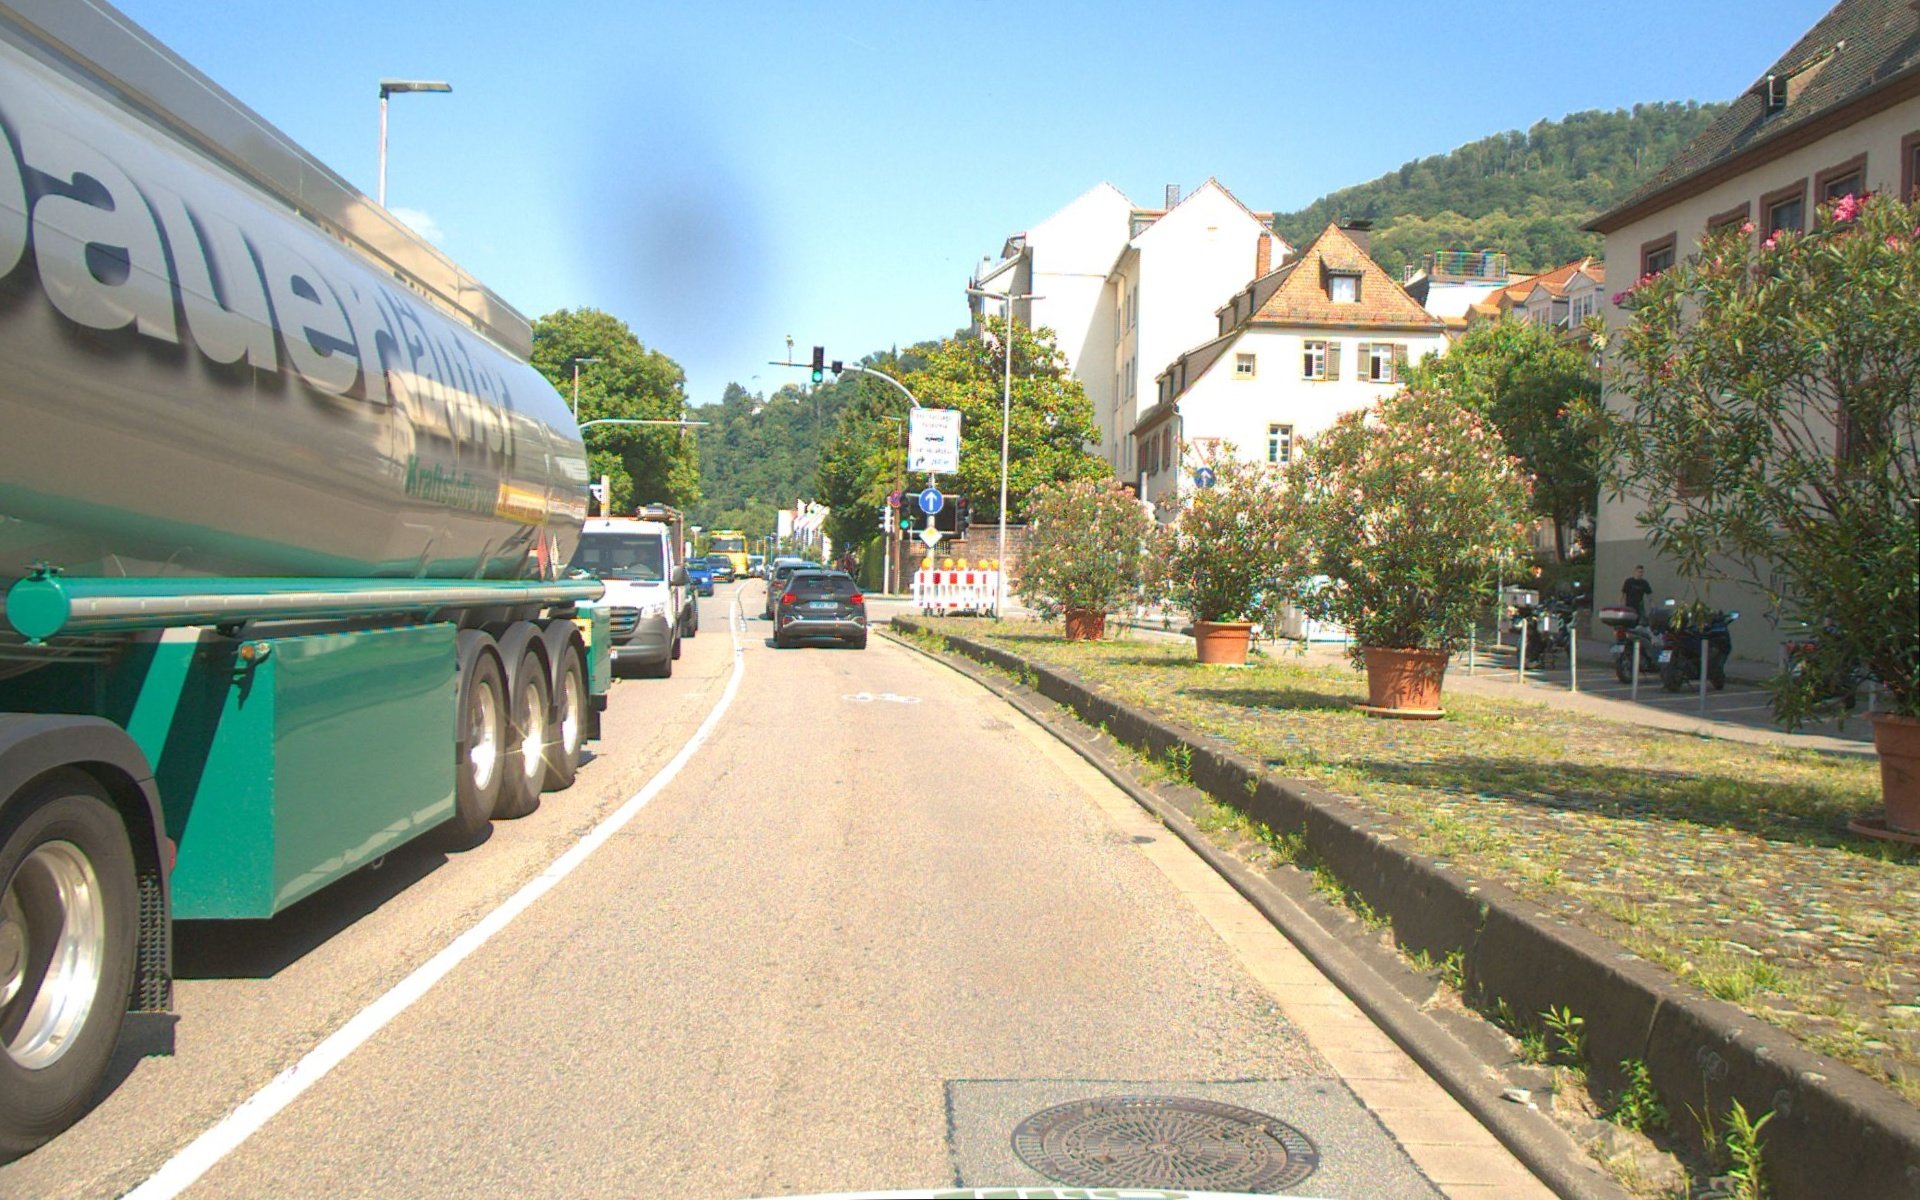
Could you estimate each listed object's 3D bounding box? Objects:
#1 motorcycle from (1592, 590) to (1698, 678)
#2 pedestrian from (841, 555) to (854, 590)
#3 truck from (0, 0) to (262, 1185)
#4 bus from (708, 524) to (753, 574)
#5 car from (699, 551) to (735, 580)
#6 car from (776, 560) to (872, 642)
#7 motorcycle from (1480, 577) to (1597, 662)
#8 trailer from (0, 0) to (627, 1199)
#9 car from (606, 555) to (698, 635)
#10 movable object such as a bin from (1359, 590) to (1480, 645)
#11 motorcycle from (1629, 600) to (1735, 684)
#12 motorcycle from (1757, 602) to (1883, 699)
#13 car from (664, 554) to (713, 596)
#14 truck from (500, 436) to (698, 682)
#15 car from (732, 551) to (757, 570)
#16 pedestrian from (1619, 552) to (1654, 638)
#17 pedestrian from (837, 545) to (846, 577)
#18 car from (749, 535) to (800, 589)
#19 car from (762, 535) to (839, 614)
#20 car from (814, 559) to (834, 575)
[{"bbox_3d":[11.567,0.546,27.916,2.215,1.273,0.620,-4,7,-39],"label":"motorcycle"},{"bbox_3d":[-5.726,-1.403,84.117,0.667,1.773,0.912,0,0,-6],"label":"pedestrian"},{"bbox_3d":[-3.476,-0.474,2.286,2.473,3.814,6.244,-1,1,-2],"label":"truck"},{"bbox_3d":[-14.174,-3.157,102.668,2.547,2.946,8.436,0,2,-7],"label":"bus"},{"bbox_3d":[-12.539,-1.787,85.369,1.775,1.430,4.349,0,2,-8],"label":"car"},{"bbox_3d":[-2.815,0.035,33.550,1.821,1.550,3.994,0,0,-7],"label":"car"},{"bbox_3d":[11.026,0.345,31.479,2.475,1.559,1.038,0,1,-42],"label":"motorcycle"},{"bbox_3d":[-3.754,-0.449,7.978,2.473,3.707,11.525,0,1,-3],"label":"trailer"},{"bbox_3d":[-6.942,-0.166,37.654,1.828,1.710,4.447,0,1,-8],"label":"car"},{"bbox_3d":[10.110,0.367,36.303,2.933,1.129,1.238,0,2,-44],"label":"movable object such as a bin"},{"bbox_3d":[11.596,0.656,26.529,2.176,1.289,0.620,0,1,-39],"label":"motorcycle"},{"bbox_3d":[12.161,0.689,23.351,2.161,1.289,0.772,0,1,-39],"label":"motorcycle"},{"bbox_3d":[-10.601,-0.984,64.489,1.776,1.534,3.990,1,2,-11],"label":"car"},{"bbox_3d":[-5.555,-0.679,26.525,2.331,3.318,7.600,-2,2,-7],"label":"truck"},{"bbox_3d":[-16.704,-3.083,128.382,1.780,1.422,4.342,0,2,-6],"label":"car"},{"bbox_3d":[14.761,-0.103,36.118,0.485,1.854,0.618,0,-1,-5],"label":"pedestrian"},{"bbox_3d":[-6.129,-2.011,85.740,0.447,1.634,0.579,0,0,-6],"label":"pedestrian"},{"bbox_3d":[-7.836,-1.569,69.697,1.956,2.048,3.994,4,0,-7],"label":"car"},{"bbox_3d":[-4.445,-0.663,45.606,1.956,2.049,3.993,0,0,-8],"label":"car"},{"bbox_3d":[-13.923,-3.361,168.949,1.955,1.478,4.004,0,0,-5],"label":"car"}]
